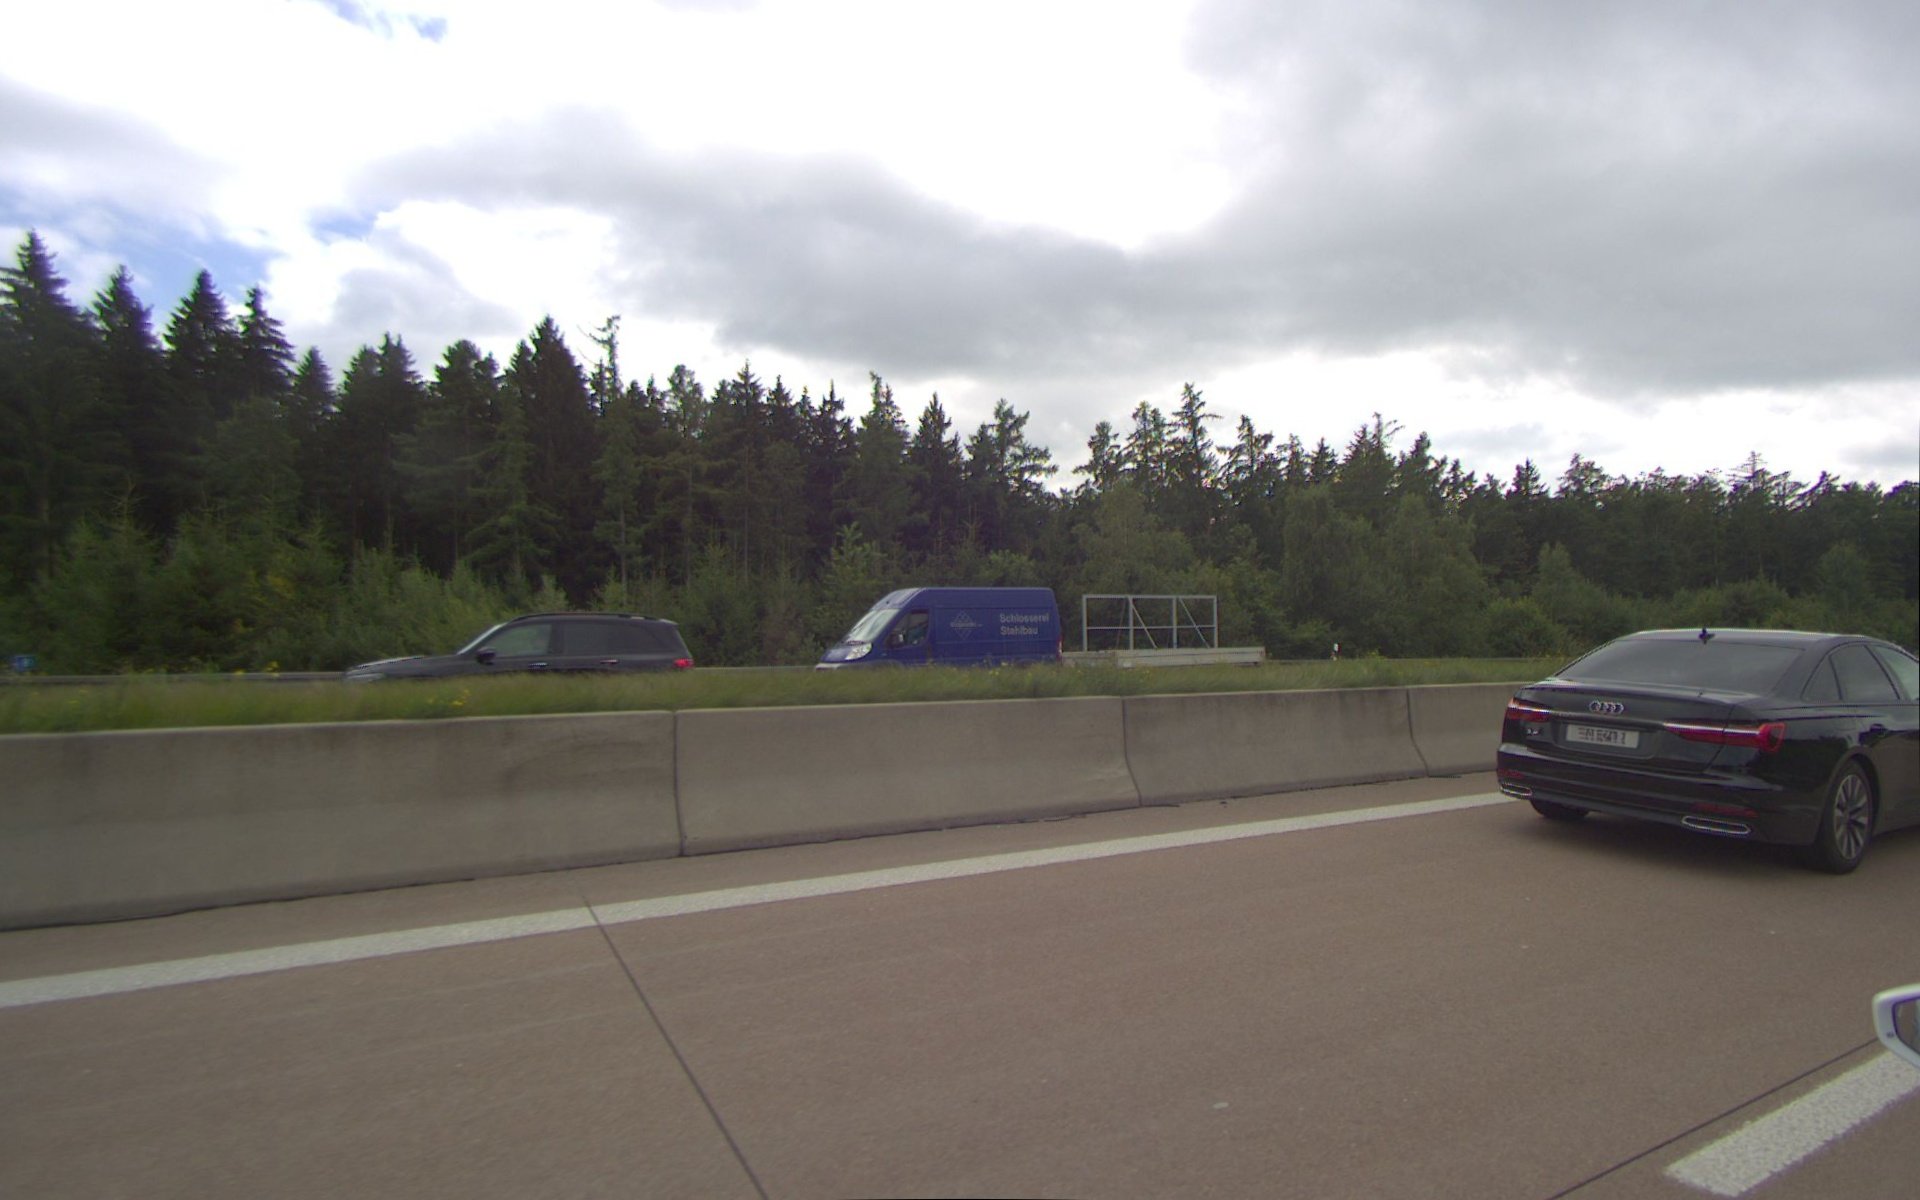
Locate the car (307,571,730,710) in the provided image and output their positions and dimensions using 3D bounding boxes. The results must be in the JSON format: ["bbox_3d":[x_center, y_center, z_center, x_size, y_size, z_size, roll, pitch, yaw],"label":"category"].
[{"bbox_3d":[-6.072,0.521,14.149,5.067,1.648,2.335,1,0,-30],"label":"car"}]

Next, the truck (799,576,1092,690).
[{"bbox_3d":[-0.245,0.688,21.722,5.972,2.190,2.335,1,0,-30],"label":"truck"}]

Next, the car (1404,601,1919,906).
[{"bbox_3d":[6.114,0.865,7.543,5.603,1.571,2.077,1,1,-28],"label":"car"}]

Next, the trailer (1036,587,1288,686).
[{"bbox_3d":[5.050,0.858,24.819,6.116,2.190,2.321,1,0,-30],"label":"trailer"}]
